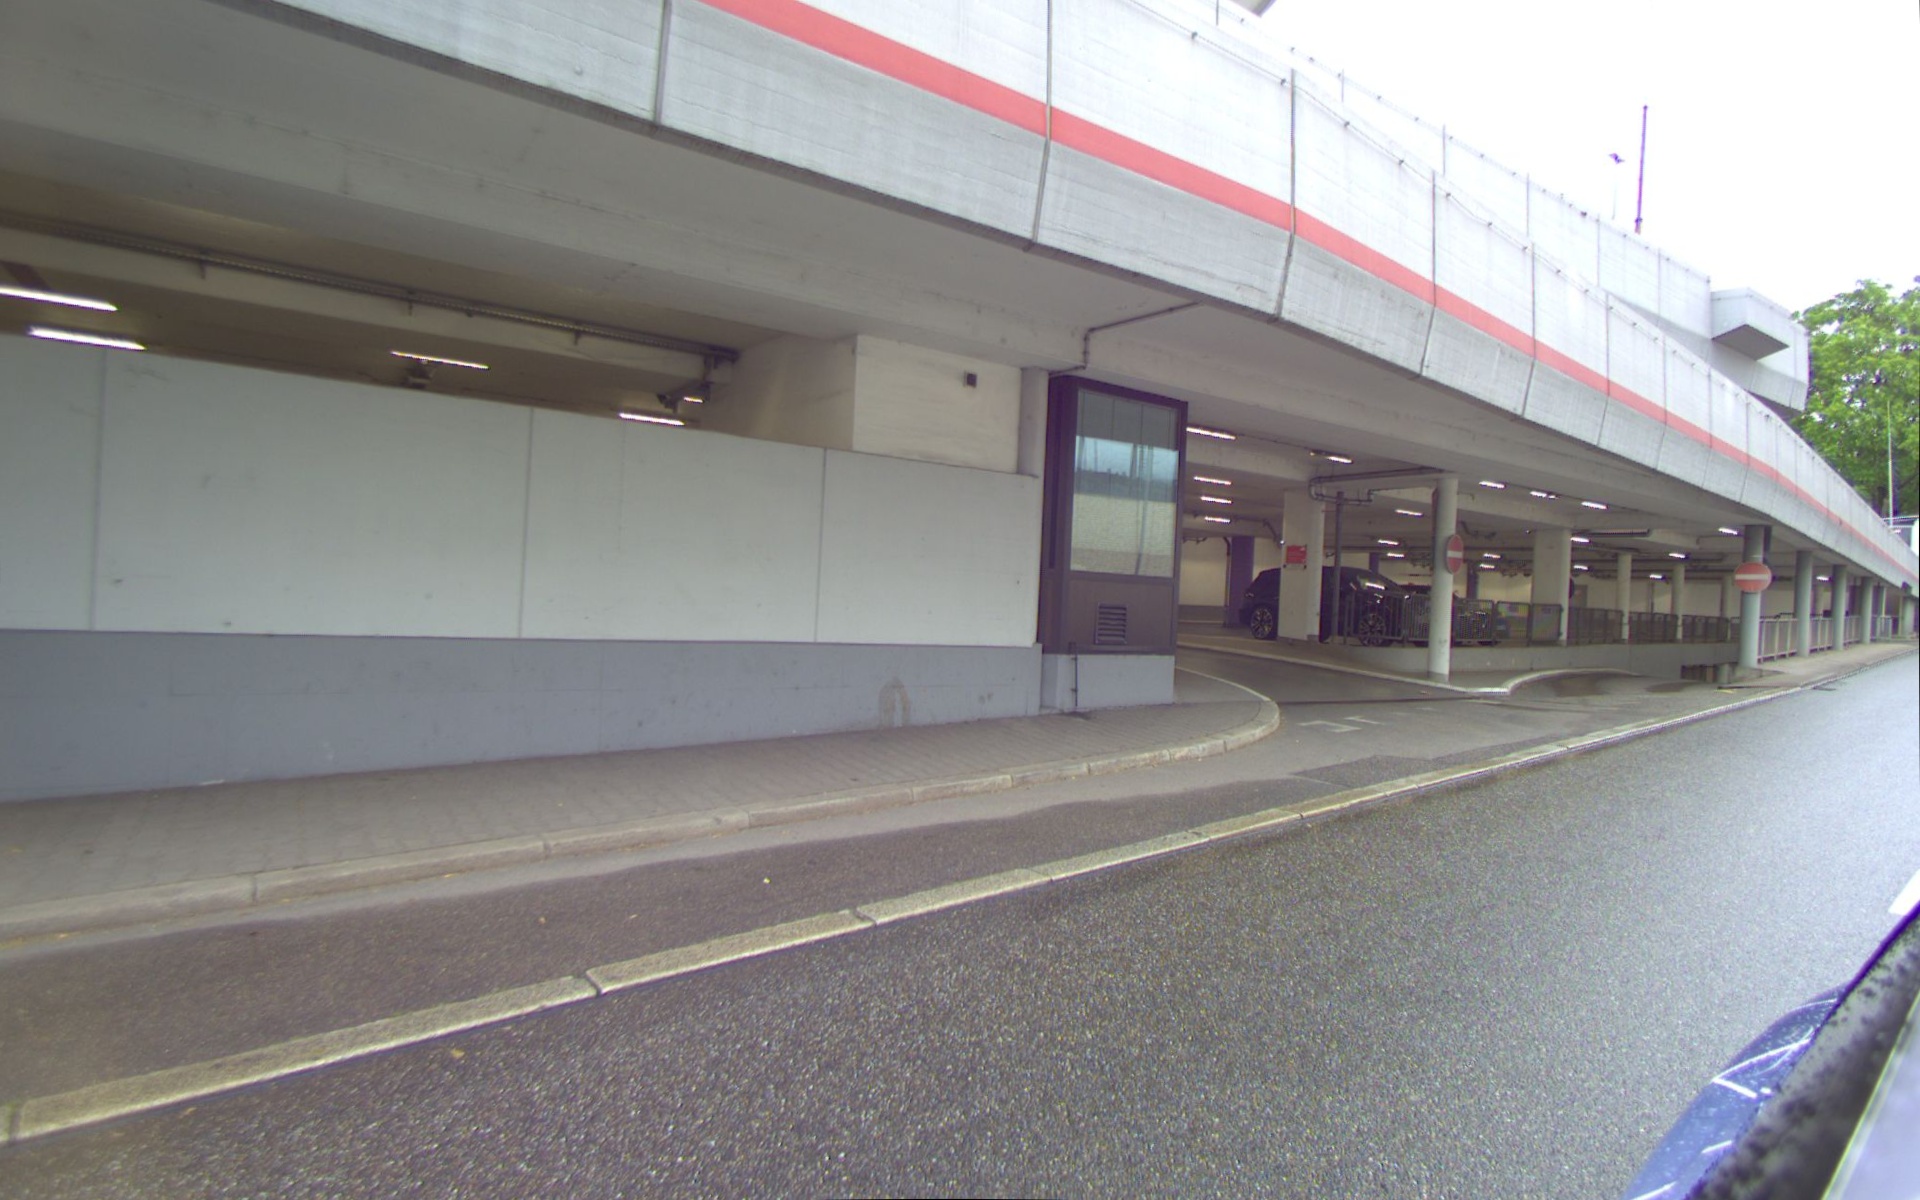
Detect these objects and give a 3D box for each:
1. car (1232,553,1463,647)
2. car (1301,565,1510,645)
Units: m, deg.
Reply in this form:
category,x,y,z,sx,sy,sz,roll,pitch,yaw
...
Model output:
category,x,y,z,sx,sy,sz,roll,pitch,yaw
car,8.165,-0.019,21.723,1.960,1.682,4.261,5,-2,-31
car,10.764,0.089,24.764,1.960,1.682,4.261,5,-2,-31
